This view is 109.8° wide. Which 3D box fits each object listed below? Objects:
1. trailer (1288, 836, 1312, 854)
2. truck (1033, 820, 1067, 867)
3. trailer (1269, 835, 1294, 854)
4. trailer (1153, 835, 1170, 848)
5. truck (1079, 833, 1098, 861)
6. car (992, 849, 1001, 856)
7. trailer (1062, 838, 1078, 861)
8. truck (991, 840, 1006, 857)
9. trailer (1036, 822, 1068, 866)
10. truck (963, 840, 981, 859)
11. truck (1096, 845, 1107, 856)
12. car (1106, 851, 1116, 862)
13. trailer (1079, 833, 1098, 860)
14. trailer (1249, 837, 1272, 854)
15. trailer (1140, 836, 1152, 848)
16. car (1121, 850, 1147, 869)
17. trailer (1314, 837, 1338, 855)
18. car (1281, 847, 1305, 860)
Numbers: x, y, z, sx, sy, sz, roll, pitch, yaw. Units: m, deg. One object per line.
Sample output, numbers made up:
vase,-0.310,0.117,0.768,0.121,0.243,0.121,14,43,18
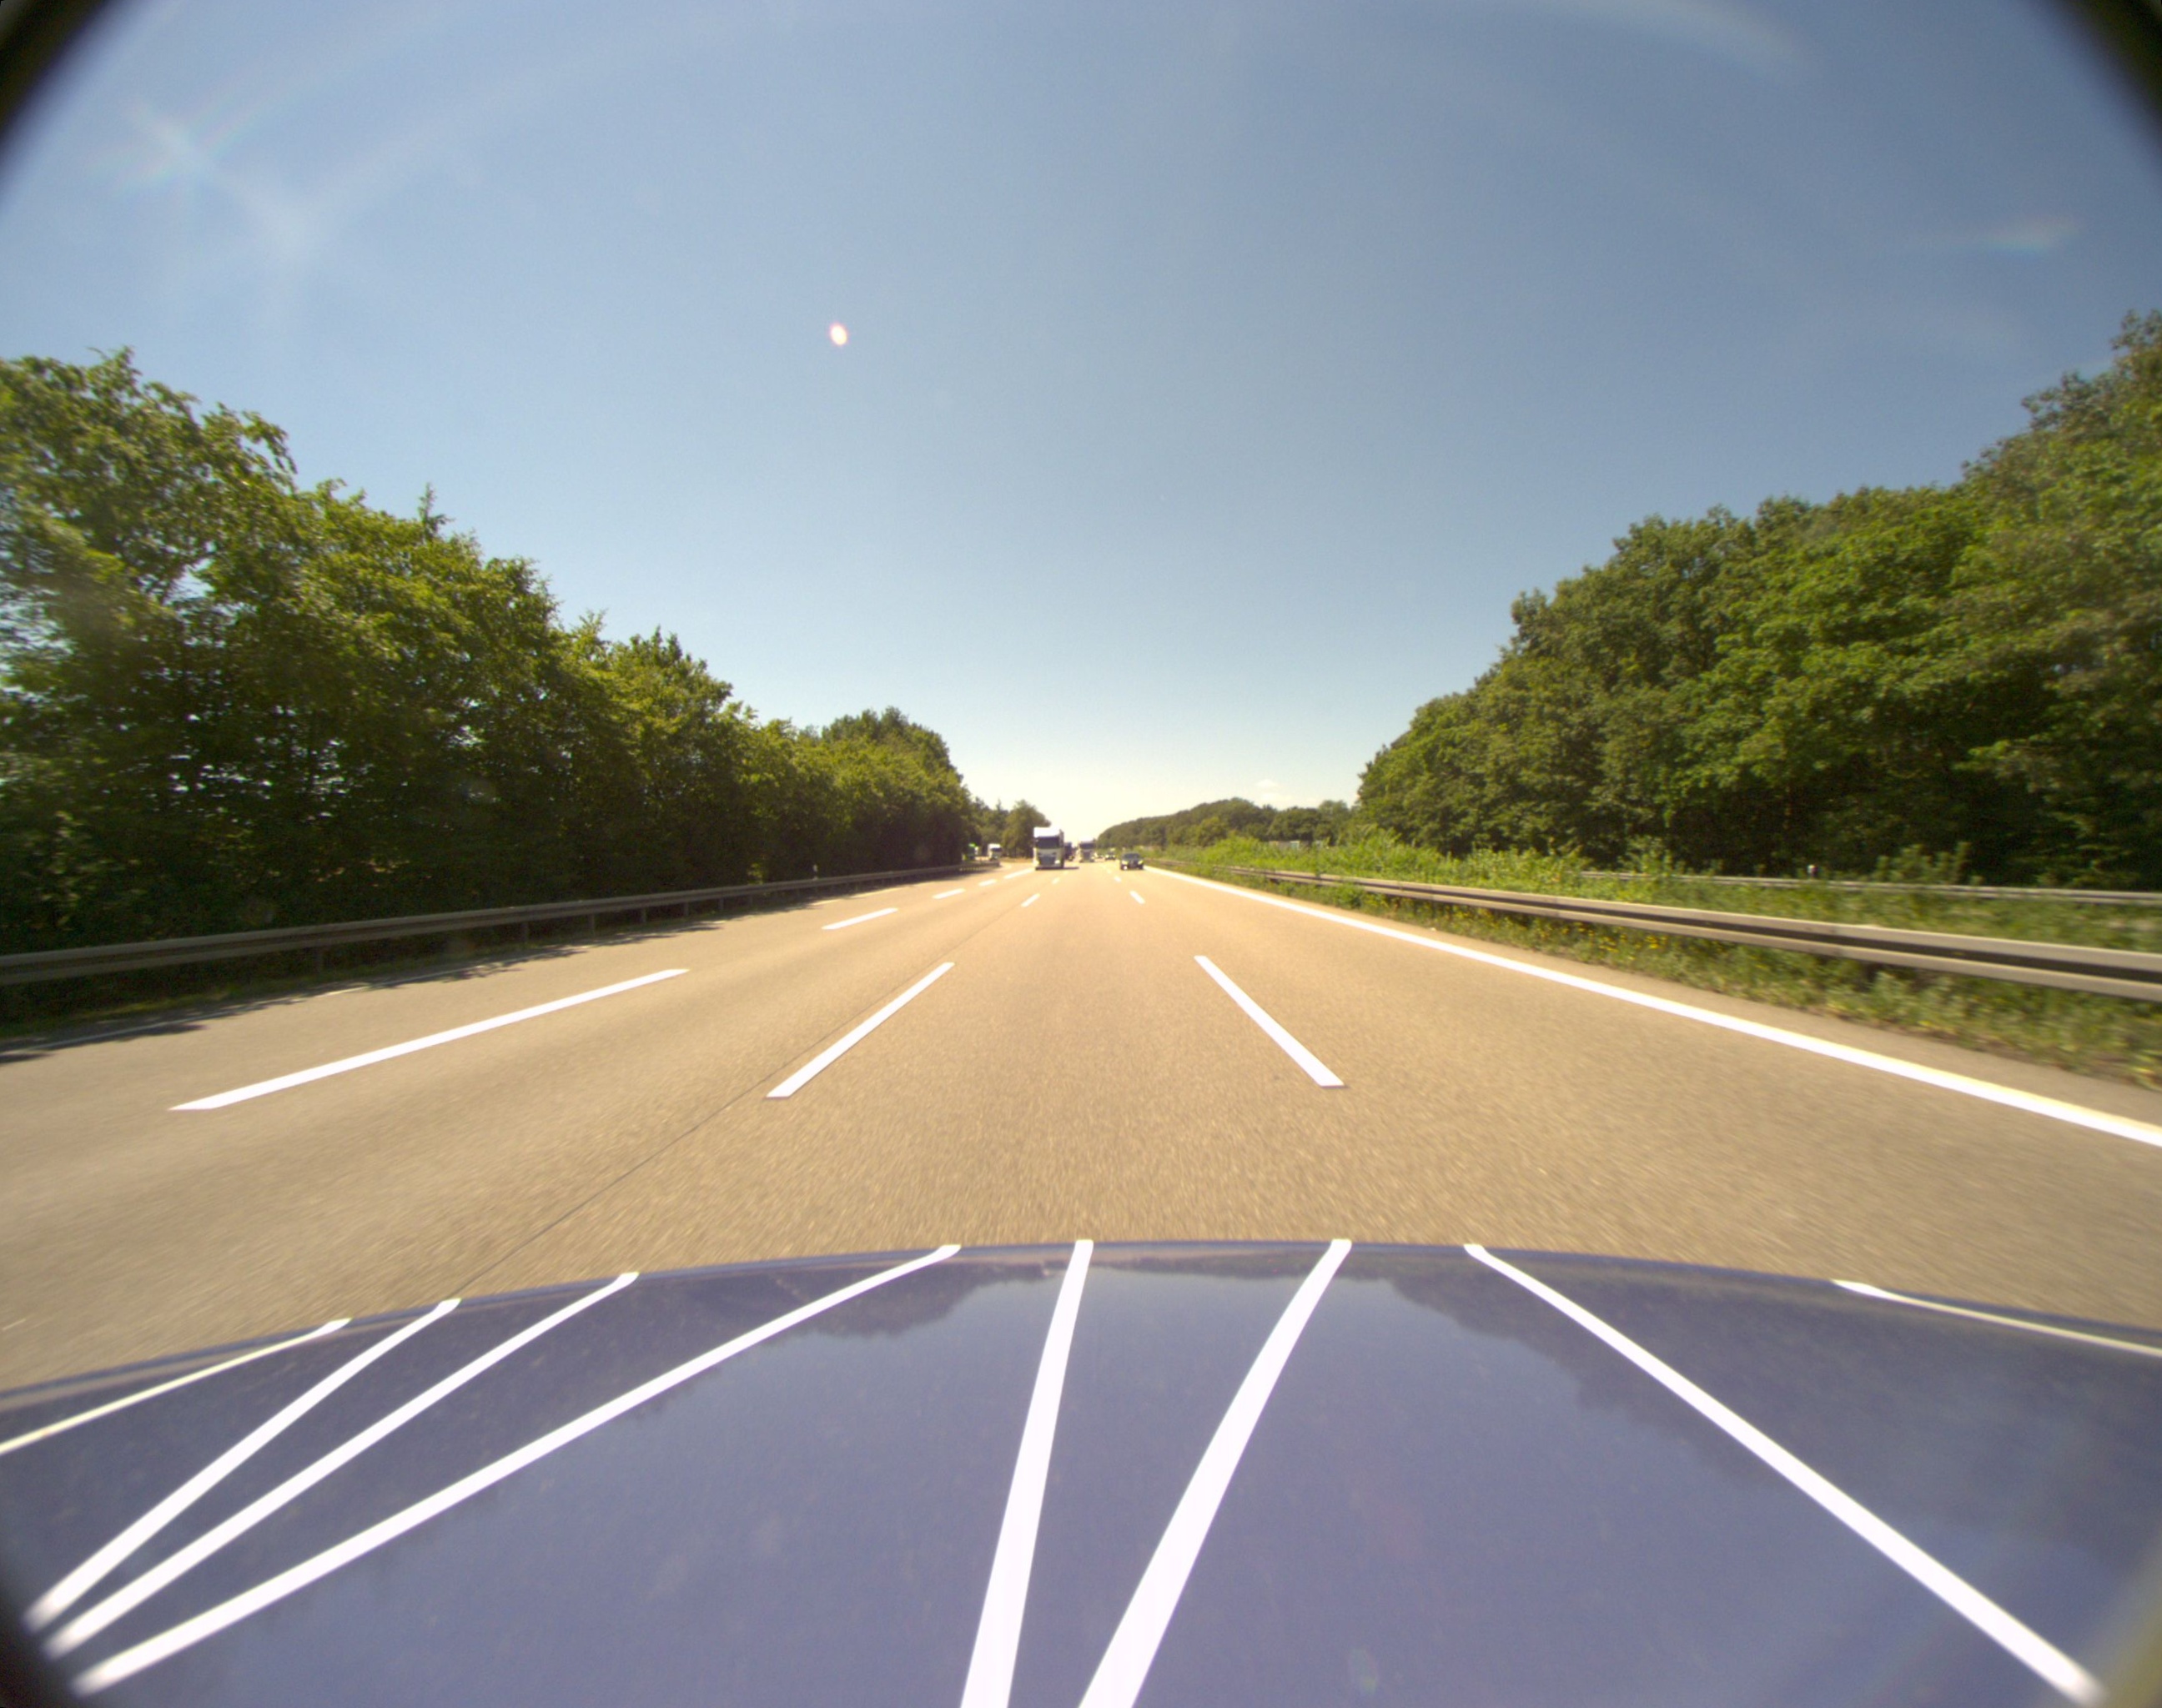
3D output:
trailer,57.587,-2.416,199.839,3.608,4.565,14.028,0,0,6
truck,-2.946,-0.994,73.630,2.863,4.247,6.862,-2,1,-1
trailer,46.545,-2.303,176.884,3.222,4.112,14.054,-2,1,6
trailer,23.066,-3.648,218.736,3.206,3.559,15.966,-2,1,1
truck,1.240,-1.174,122.376,2.863,4.247,5.410,-2,1,0
car,-21.562,-0.404,194.145,1.999,1.700,4.677,1,0,-3
trailer,-2.066,-0.773,146.062,2.863,4.247,11.471,-2,0,-1
truck,-22.258,-1.503,205.297,3.395,4.437,7.382,-2,1,-10
trailer,-3.023,-1.081,82.854,2.863,4.247,14.977,-2,1,-1
truck,-25.472,-0.979,177.345,3.395,4.234,6.609,-3,1,-12
truck,4.983,-0.873,184.546,2.576,2.461,5.614,-2,1,0
car,5.350,0.424,135.585,1.806,1.774,3.999,-1,1,1
trailer,1.264,-1.234,128.407,2.863,4.247,11.470,-2,1,0
trailer,51.539,-2.462,218.677,3.610,4.565,14.023,0,0,1
trailer,22.287,-4.181,261.849,3.206,3.803,14.022,-2,1,1
car,4.387,0.450,63.495,1.811,1.399,3.999,-2,1,0
trailer,52.531,-1.772,163.108,3.606,3.634,14.035,0,0,12
car,28.056,-0.039,100.610,1.976,1.585,3.999,-3,1,0
